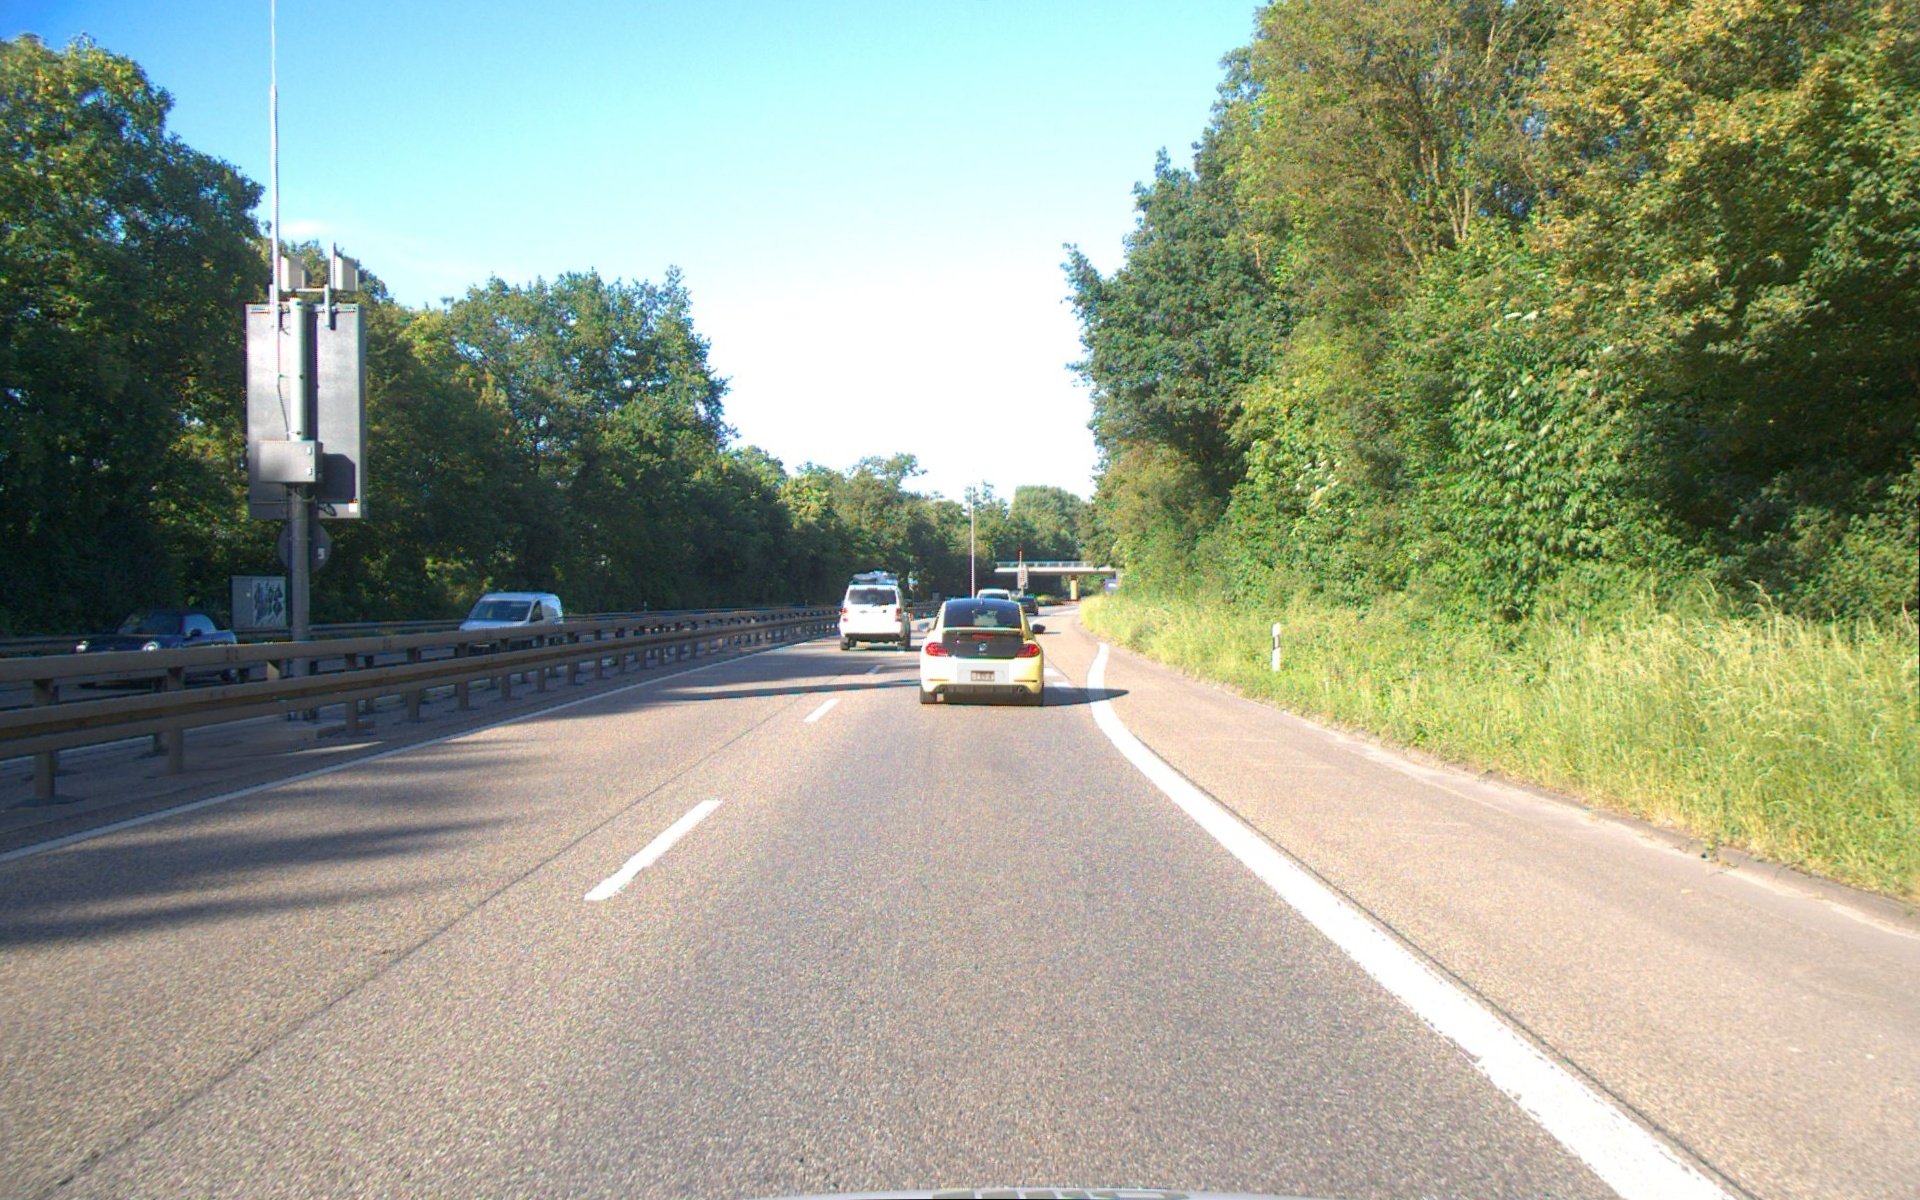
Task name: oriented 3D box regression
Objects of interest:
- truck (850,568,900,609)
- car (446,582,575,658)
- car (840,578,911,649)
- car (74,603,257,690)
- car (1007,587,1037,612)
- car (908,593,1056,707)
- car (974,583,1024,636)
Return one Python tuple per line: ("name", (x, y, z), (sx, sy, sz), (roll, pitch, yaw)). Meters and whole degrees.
("truck", (-7.814, -1.098, 153.601), (2.827, 3.582, 11.960), (-2, 0, 6))
("car", (-11.749, 0.471, 43.623), (1.953, 1.820, 5.028), (-2, 0, 0))
("car", (-2.302, 0.350, 45.738), (1.705, 1.862, 3.422), (1, 0, 1))
("car", (-14.993, 0.834, 31.431), (1.564, 1.506, 3.910), (0, 0, 0))
("car", (4.879, -0.073, 131.467), (2.217, 1.908, 5.077), (-2, 0, 1))
("car", (0.251, 0.665, 24.162), (1.901, 1.534, 3.420), (0, 0, -4))
("car", (1.573, 0.385, 68.306), (1.953, 2.049, 4.000), (-2, 0, 0))
